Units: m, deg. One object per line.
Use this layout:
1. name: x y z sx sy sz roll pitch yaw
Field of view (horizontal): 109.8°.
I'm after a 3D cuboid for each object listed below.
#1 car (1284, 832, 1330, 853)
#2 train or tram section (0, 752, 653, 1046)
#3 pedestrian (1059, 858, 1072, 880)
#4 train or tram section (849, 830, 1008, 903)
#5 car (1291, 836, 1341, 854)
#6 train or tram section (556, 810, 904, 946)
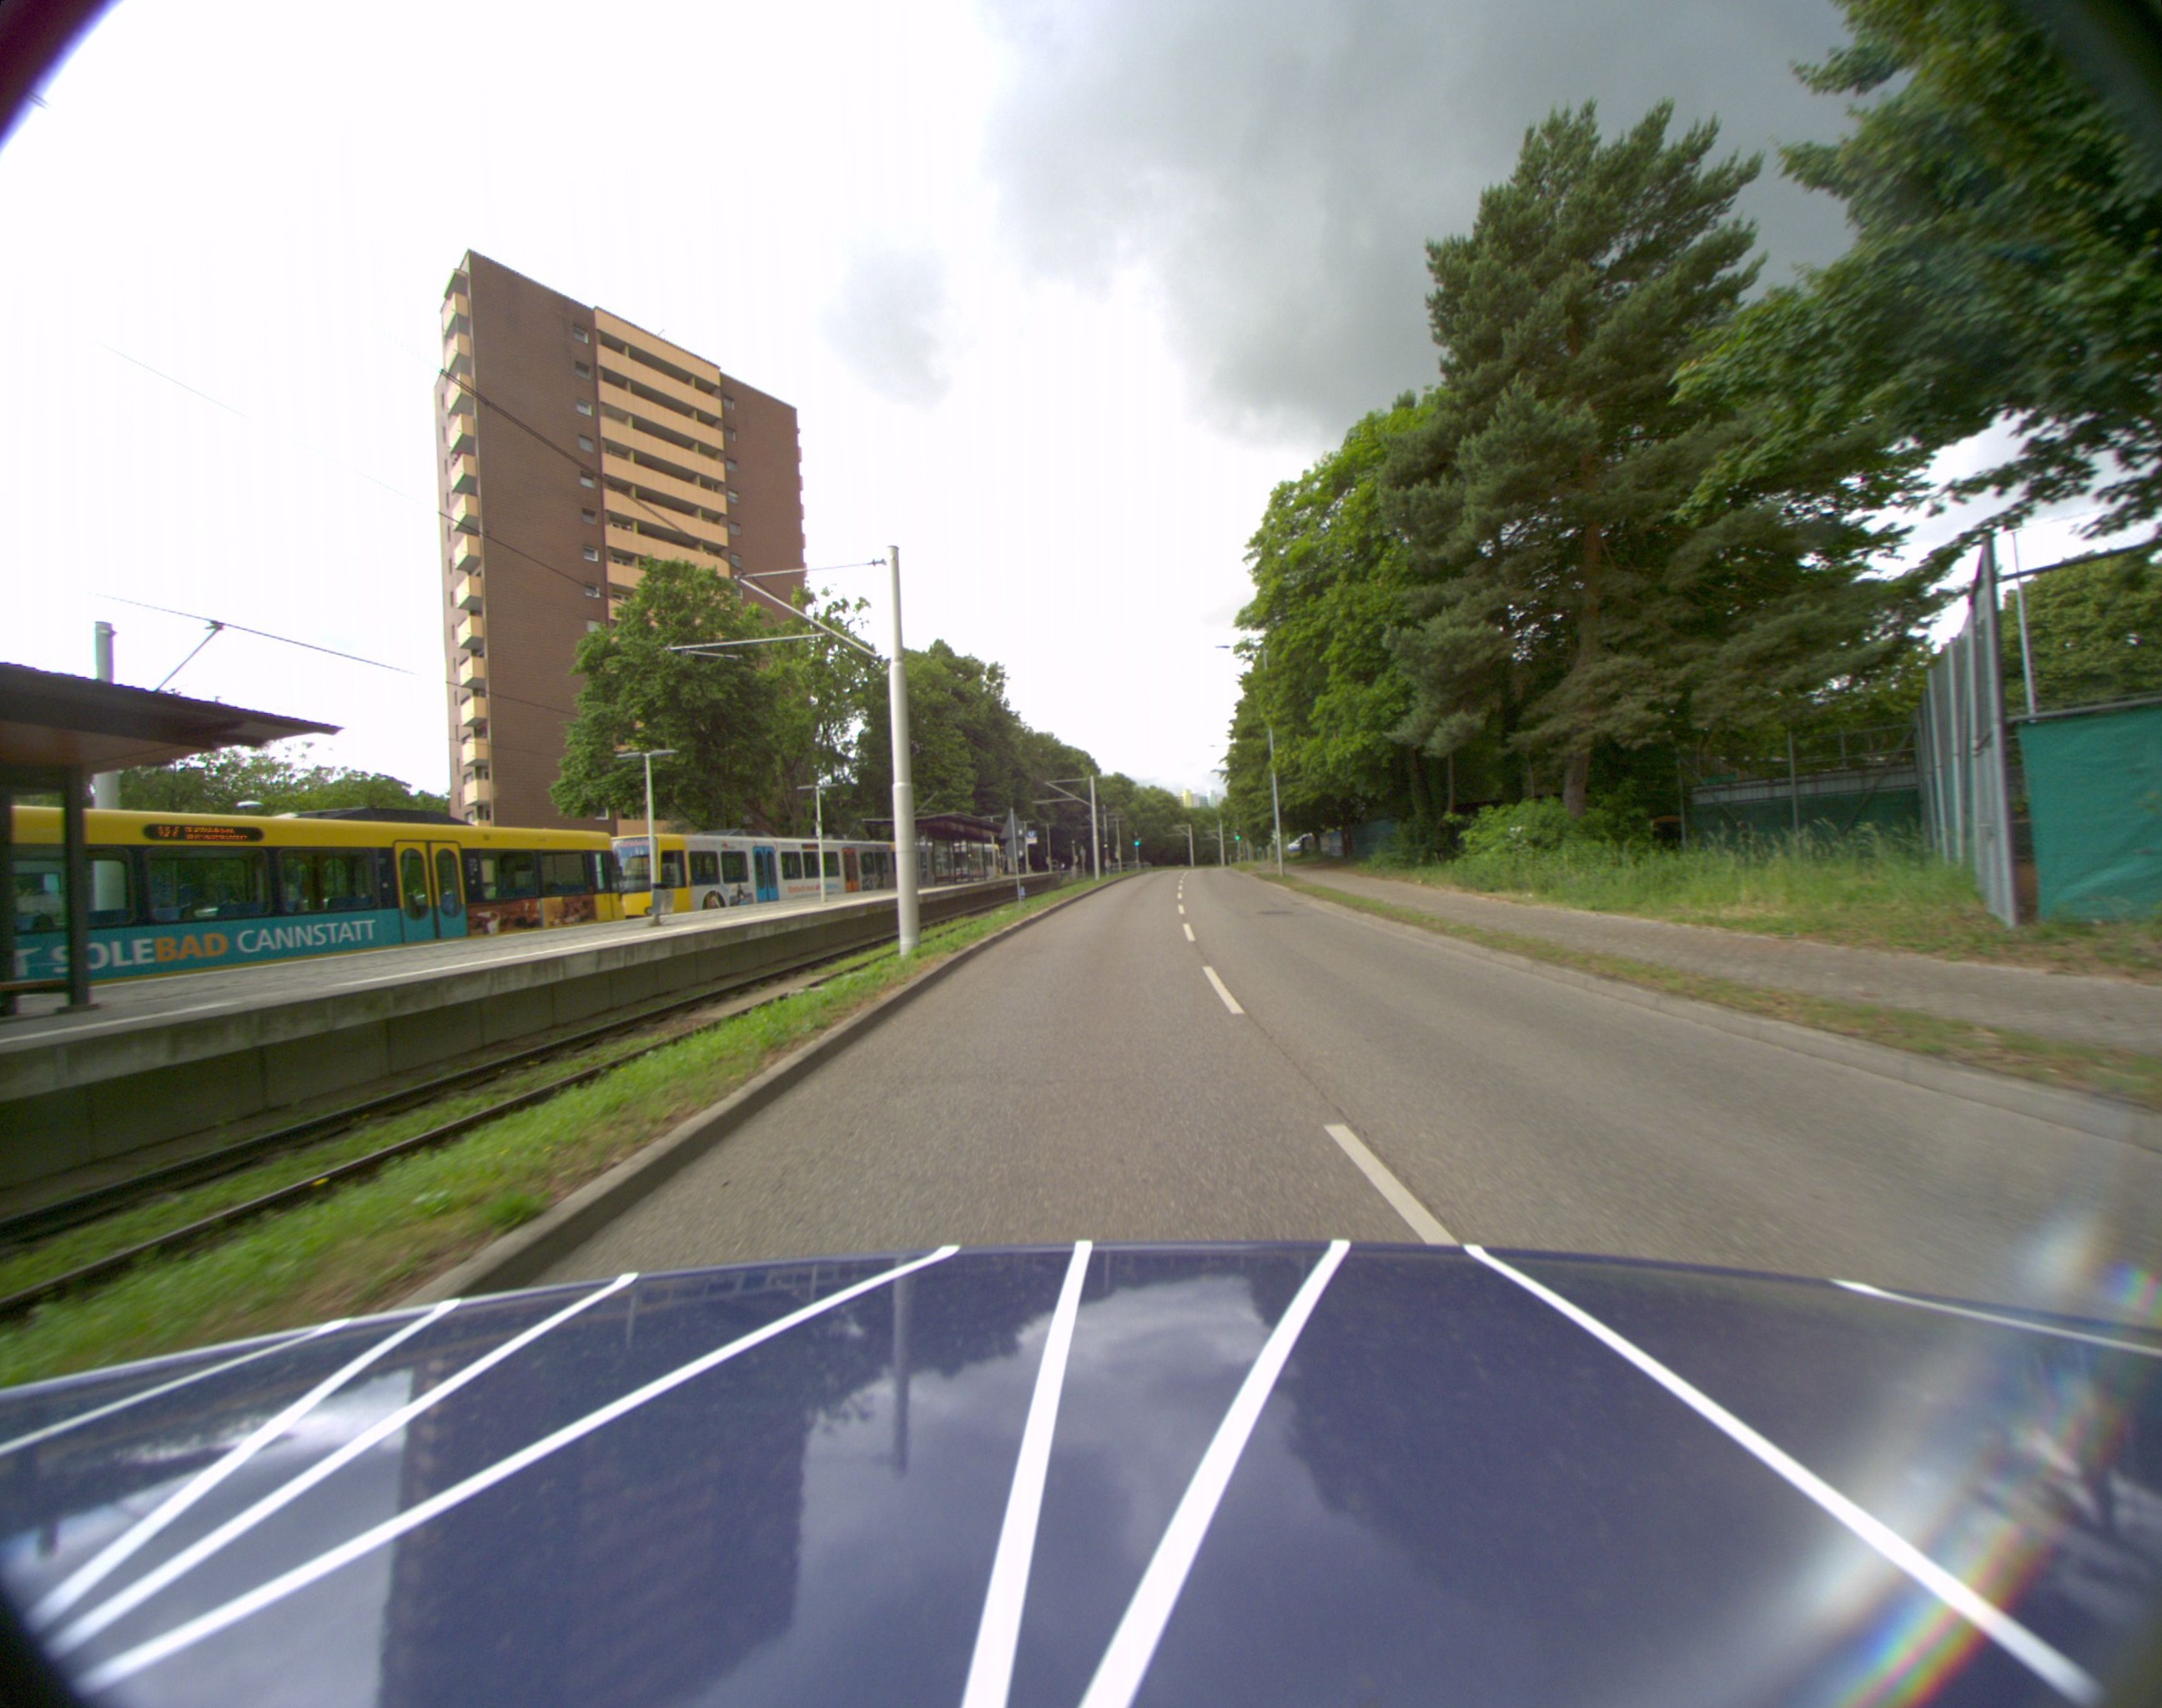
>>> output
1. car: 27.634 -1.409 92.726 5.163 2.093 2.218 -5 -2 18
2. train or tram section: -14.794 0.676 12.377 2.819 3.714 19.521 -5 -1 5
3. pedestrian: -1.314 1.261 64.459 0.986 1.747 0.730 -5 -1 2
4. train or tram section: -9.156 0.613 50.166 2.818 3.714 18.548 -5 -1 12
5. car: 26.522 -0.973 85.731 5.163 1.552 1.888 -5 -2 18
6. train or tram section: -12.514 0.704 31.649 2.819 3.776 18.946 -5 -1 9
